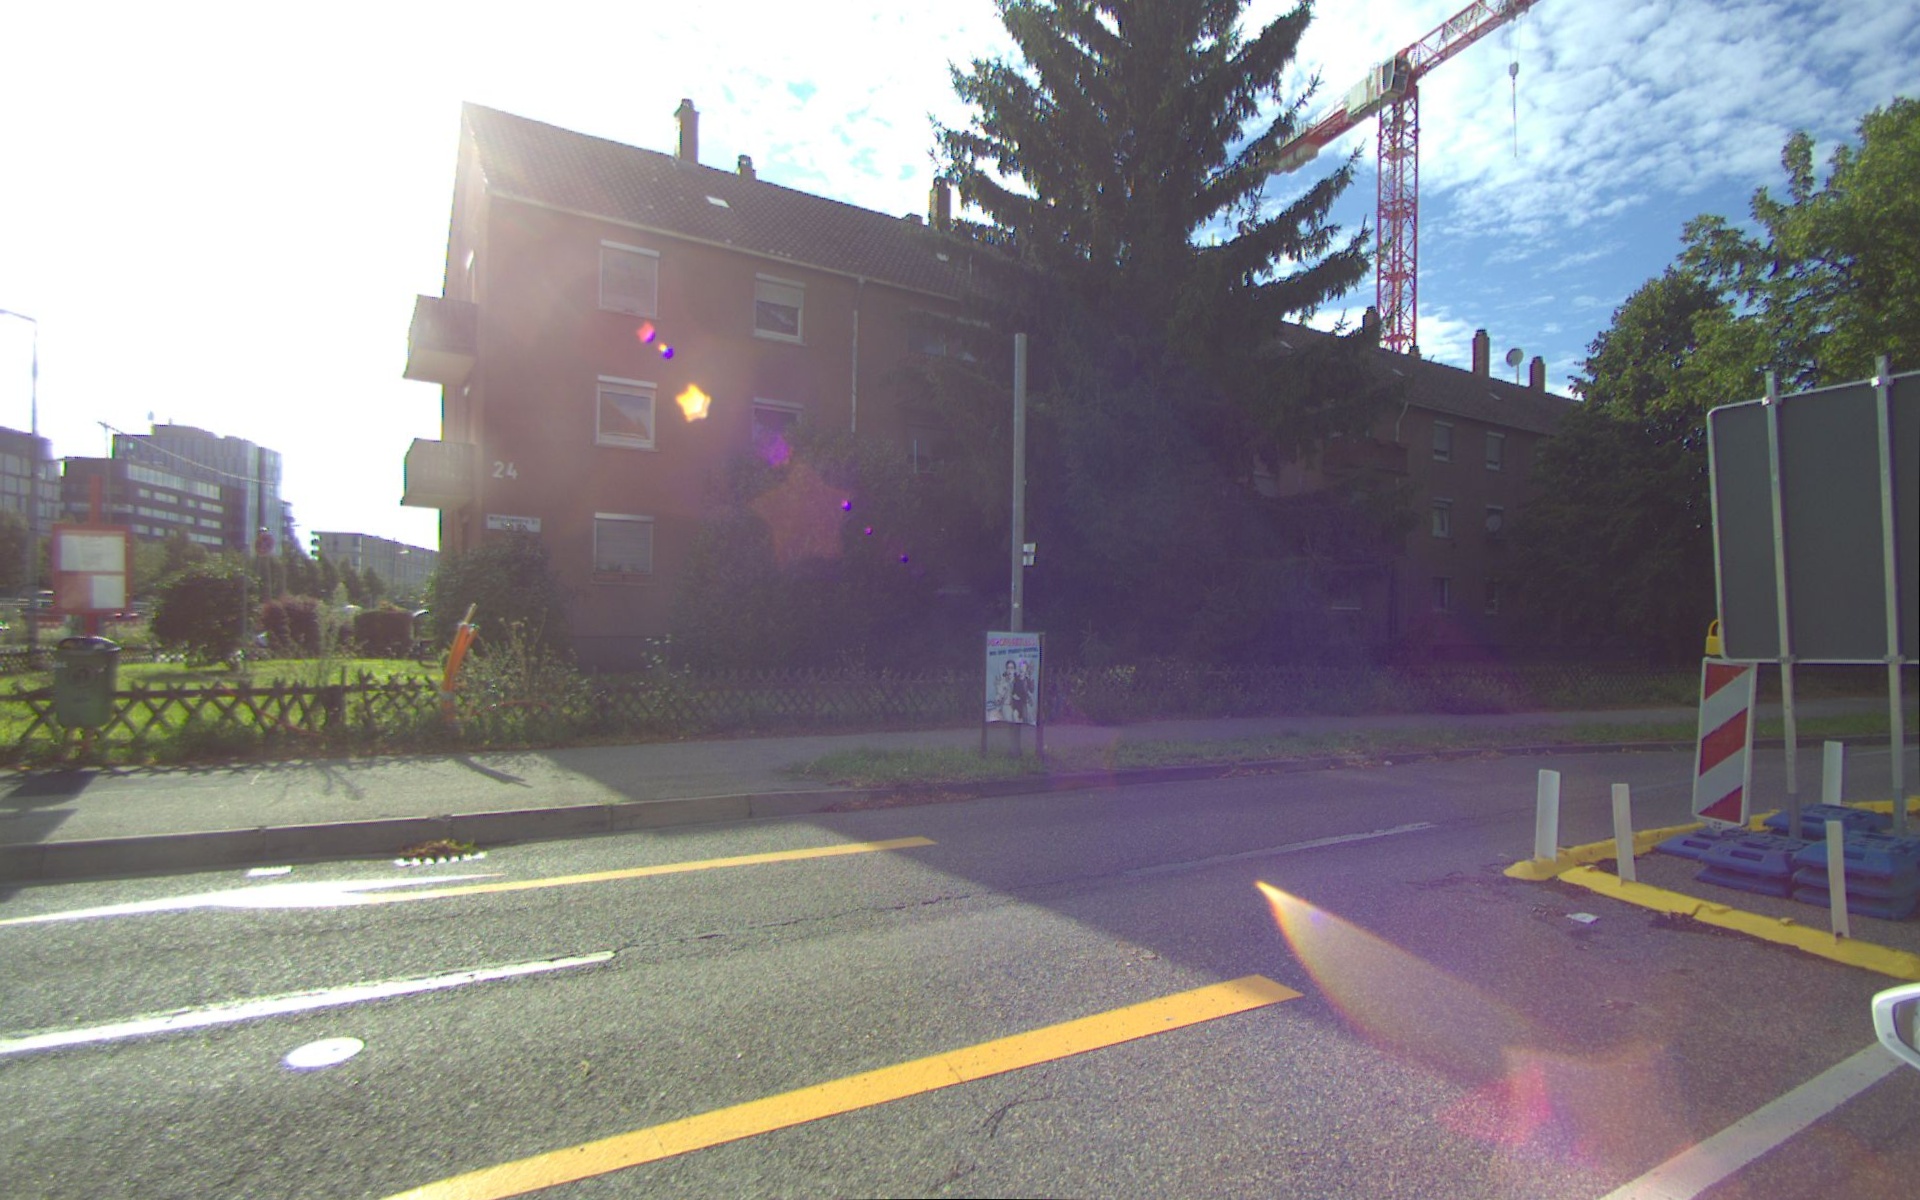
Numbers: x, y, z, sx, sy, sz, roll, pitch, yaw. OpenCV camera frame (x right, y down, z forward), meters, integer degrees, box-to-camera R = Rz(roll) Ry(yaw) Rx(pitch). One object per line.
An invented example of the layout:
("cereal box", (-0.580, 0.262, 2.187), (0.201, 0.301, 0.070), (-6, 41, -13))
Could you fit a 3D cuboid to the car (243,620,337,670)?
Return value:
("car", (-25.223, 1.644, 37.969), (1.969, 1.576, 3.982), (0, 2, -19))
